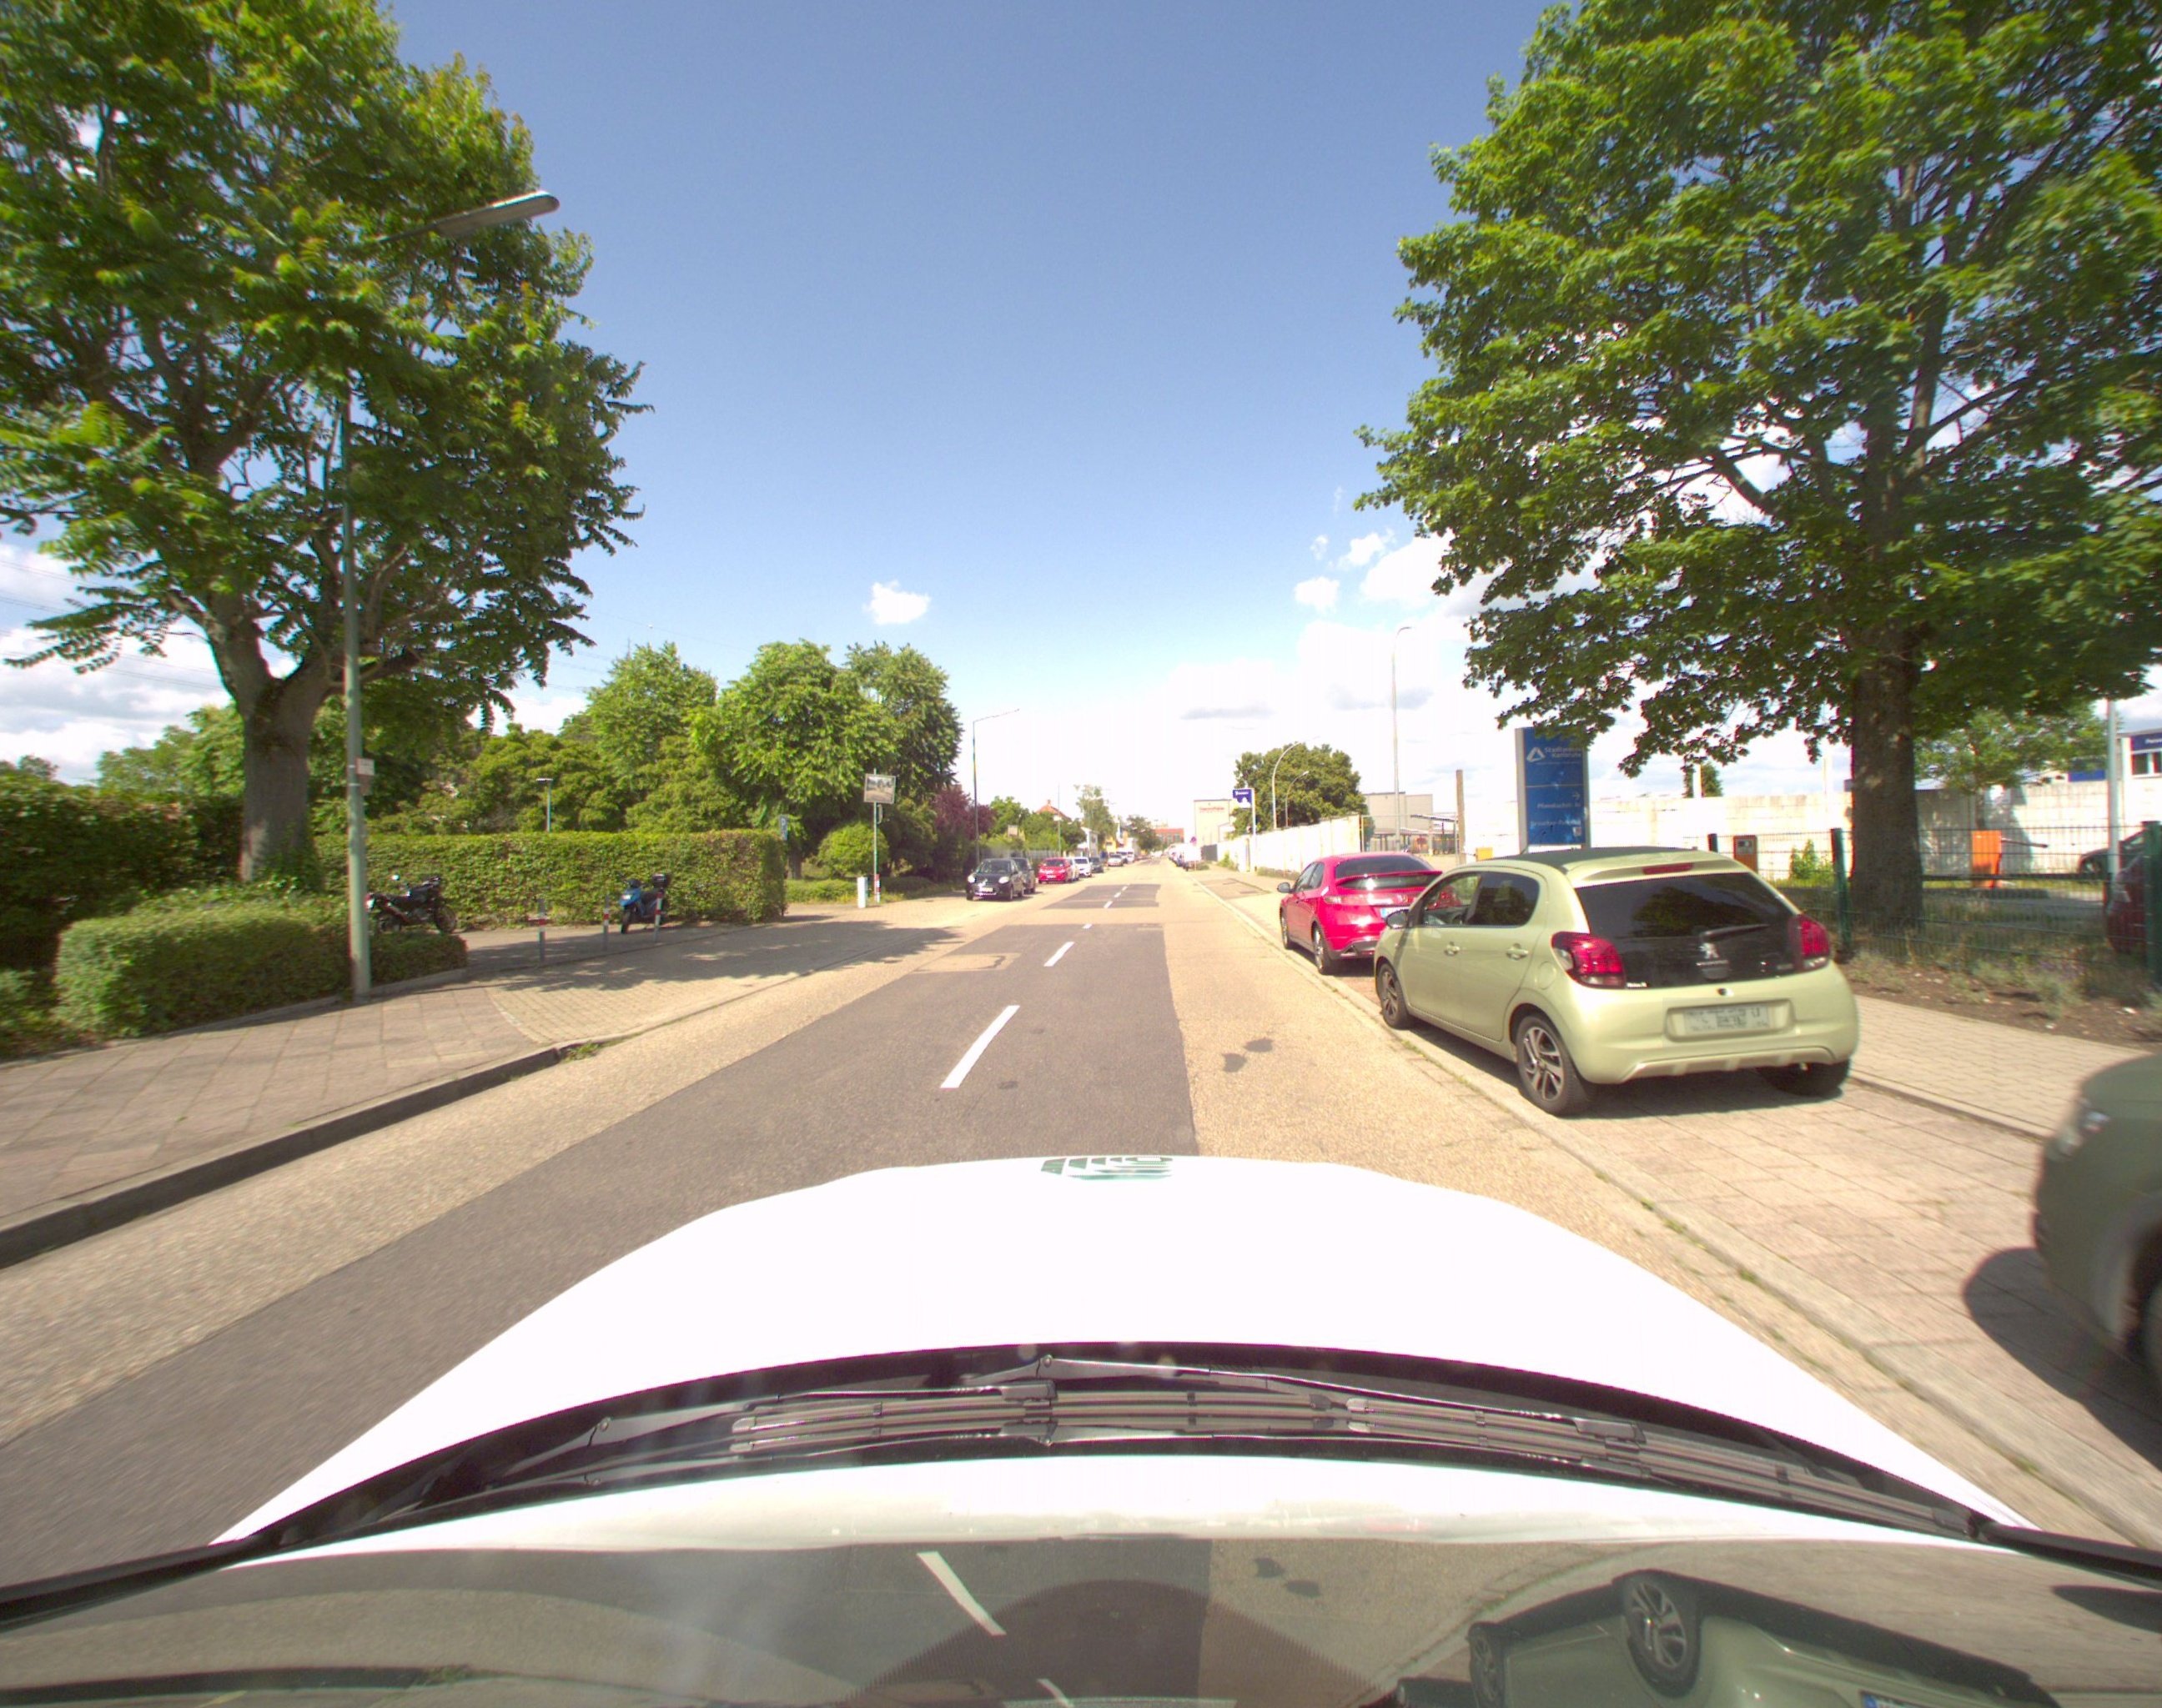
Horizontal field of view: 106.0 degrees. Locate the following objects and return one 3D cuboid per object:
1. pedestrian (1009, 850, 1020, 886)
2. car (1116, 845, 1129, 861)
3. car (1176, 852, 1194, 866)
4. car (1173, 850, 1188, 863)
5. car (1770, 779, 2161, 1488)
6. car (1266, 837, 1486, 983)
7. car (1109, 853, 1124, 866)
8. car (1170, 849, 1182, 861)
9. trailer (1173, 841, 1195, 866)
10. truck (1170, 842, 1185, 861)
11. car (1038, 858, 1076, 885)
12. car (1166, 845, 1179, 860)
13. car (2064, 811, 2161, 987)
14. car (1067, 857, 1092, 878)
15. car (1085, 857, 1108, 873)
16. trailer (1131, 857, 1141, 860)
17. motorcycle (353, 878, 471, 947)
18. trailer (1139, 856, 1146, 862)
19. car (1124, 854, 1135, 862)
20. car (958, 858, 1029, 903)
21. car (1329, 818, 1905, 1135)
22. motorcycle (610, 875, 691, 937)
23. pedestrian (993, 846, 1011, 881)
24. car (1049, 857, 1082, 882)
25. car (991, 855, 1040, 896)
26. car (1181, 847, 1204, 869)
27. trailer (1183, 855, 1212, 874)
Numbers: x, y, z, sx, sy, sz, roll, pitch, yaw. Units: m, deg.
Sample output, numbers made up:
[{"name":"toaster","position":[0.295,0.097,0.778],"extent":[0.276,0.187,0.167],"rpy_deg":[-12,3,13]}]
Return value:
[{"name":"pedestrian","position":[-3.572,0.763,43.671],"extent":[0.448,1.894,0.678],"rpy_deg":[-2,-1,5]},{"name":"car","position":[6.790,-0.077,132.774],"extent":[2.021,2.557,6.664],"rpy_deg":[0,-1,4]},{"name":"car","position":[11.681,0.574,91.420],"extent":[1.682,1.461,4.076],"rpy_deg":[-4,-1,5]},{"name":"car","position":[14.275,0.358,116.634],"extent":[1.926,1.693,4.687],"rpy_deg":[-5,0,6]},{"name":"car","position":[3.244,0.570,0.508],"extent":[1.825,1.608,4.572],"rpy_deg":[-5,-1,3]},{"name":"car","position":[3.769,0.637,11.222],"extent":[1.745,1.486,4.231],"rpy_deg":[-5,-1,6]},{"name":"car","position":[4.809,0.724,110.127],"extent":[1.782,1.719,4.759],"rpy_deg":[1,0,6]},{"name":"car","position":[16.703,0.234,143.136],"extent":[2.043,1.903,5.157],"rpy_deg":[-5,-1,7]},{"name":"trailer","position":[12.418,-0.042,98.237],"extent":[2.194,2.737,6.230],"rpy_deg":[-5,-1,5]},{"name":"truck","position":[19.001,-0.498,160.542],"extent":[2.446,3.293,6.829],"rpy_deg":[-7,-1,6]},{"name":"car","position":[-1.376,0.994,47.396],"extent":[1.657,1.467,3.750],"rpy_deg":[0,-1,6]},{"name":"car","position":[21.434,-0.363,191.488],"extent":[2.379,3.362,6.650],"rpy_deg":[-5,-1,3]},{"name":"car","position":[11.822,0.324,6.985],"extent":[4.189,1.593,1.913],"rpy_deg":[-2,-1,5]},{"name":"car","position":[-0.075,0.977,61.180],"extent":[1.614,1.522,4.178],"rpy_deg":[-2,0,3]},{"name":"car","position":[1.389,0.962,73.022],"extent":[1.797,1.418,4.502],"rpy_deg":[0,0,4]},{"name":"trailer","position":[14.183,1.196,209.909],"extent":[2.351,0.893,5.578],"rpy_deg":[0,0,6]},{"name":"motorcycle","position":[-14.646,1.235,17.927],"extent":[0.530,1.350,2.300],"rpy_deg":[-2,0,4]},{"name":"trailer","position":[17.407,1.393,230.761],"extent":[1.984,1.556,4.260],"rpy_deg":[-1,0,6]},{"name":"car","position":[9.108,0.782,152.417],"extent":[1.786,1.397,4.510],"rpy_deg":[0,-1,7]},{"name":"car","position":[-3.207,0.948,30.626],"extent":[1.836,1.508,4.006],"rpy_deg":[1,0,5]},{"name":"car","position":[3.367,0.647,6.130],"extent":[1.694,1.486,3.806],"rpy_deg":[-5,-1,-1]},{"name":"motorcycle","position":[-9.445,1.113,17.964],"extent":[0.530,1.220,2.088],"rpy_deg":[-2,0,4]},{"name":"pedestrian","position":[-4.202,0.500,43.280],"extent":[0.704,1.801,0.917],"rpy_deg":[-2,-1,5]},{"name":"car","position":[-0.945,0.957,52.158],"extent":[1.637,1.477,4.034],"rpy_deg":[-2,-1,5]},{"name":"car","position":[-2.783,0.900,35.386],"extent":[1.643,1.645,3.276],"rpy_deg":[1,0,4]},{"name":"car","position":[10.801,0.357,79.321],"extent":[1.984,2.013,5.658],"rpy_deg":[-2,0,6]},{"name":"trailer","position":[9.837,0.907,68.892],"extent":[1.743,1.417,4.549],"rpy_deg":[-5,-1,0]}]
